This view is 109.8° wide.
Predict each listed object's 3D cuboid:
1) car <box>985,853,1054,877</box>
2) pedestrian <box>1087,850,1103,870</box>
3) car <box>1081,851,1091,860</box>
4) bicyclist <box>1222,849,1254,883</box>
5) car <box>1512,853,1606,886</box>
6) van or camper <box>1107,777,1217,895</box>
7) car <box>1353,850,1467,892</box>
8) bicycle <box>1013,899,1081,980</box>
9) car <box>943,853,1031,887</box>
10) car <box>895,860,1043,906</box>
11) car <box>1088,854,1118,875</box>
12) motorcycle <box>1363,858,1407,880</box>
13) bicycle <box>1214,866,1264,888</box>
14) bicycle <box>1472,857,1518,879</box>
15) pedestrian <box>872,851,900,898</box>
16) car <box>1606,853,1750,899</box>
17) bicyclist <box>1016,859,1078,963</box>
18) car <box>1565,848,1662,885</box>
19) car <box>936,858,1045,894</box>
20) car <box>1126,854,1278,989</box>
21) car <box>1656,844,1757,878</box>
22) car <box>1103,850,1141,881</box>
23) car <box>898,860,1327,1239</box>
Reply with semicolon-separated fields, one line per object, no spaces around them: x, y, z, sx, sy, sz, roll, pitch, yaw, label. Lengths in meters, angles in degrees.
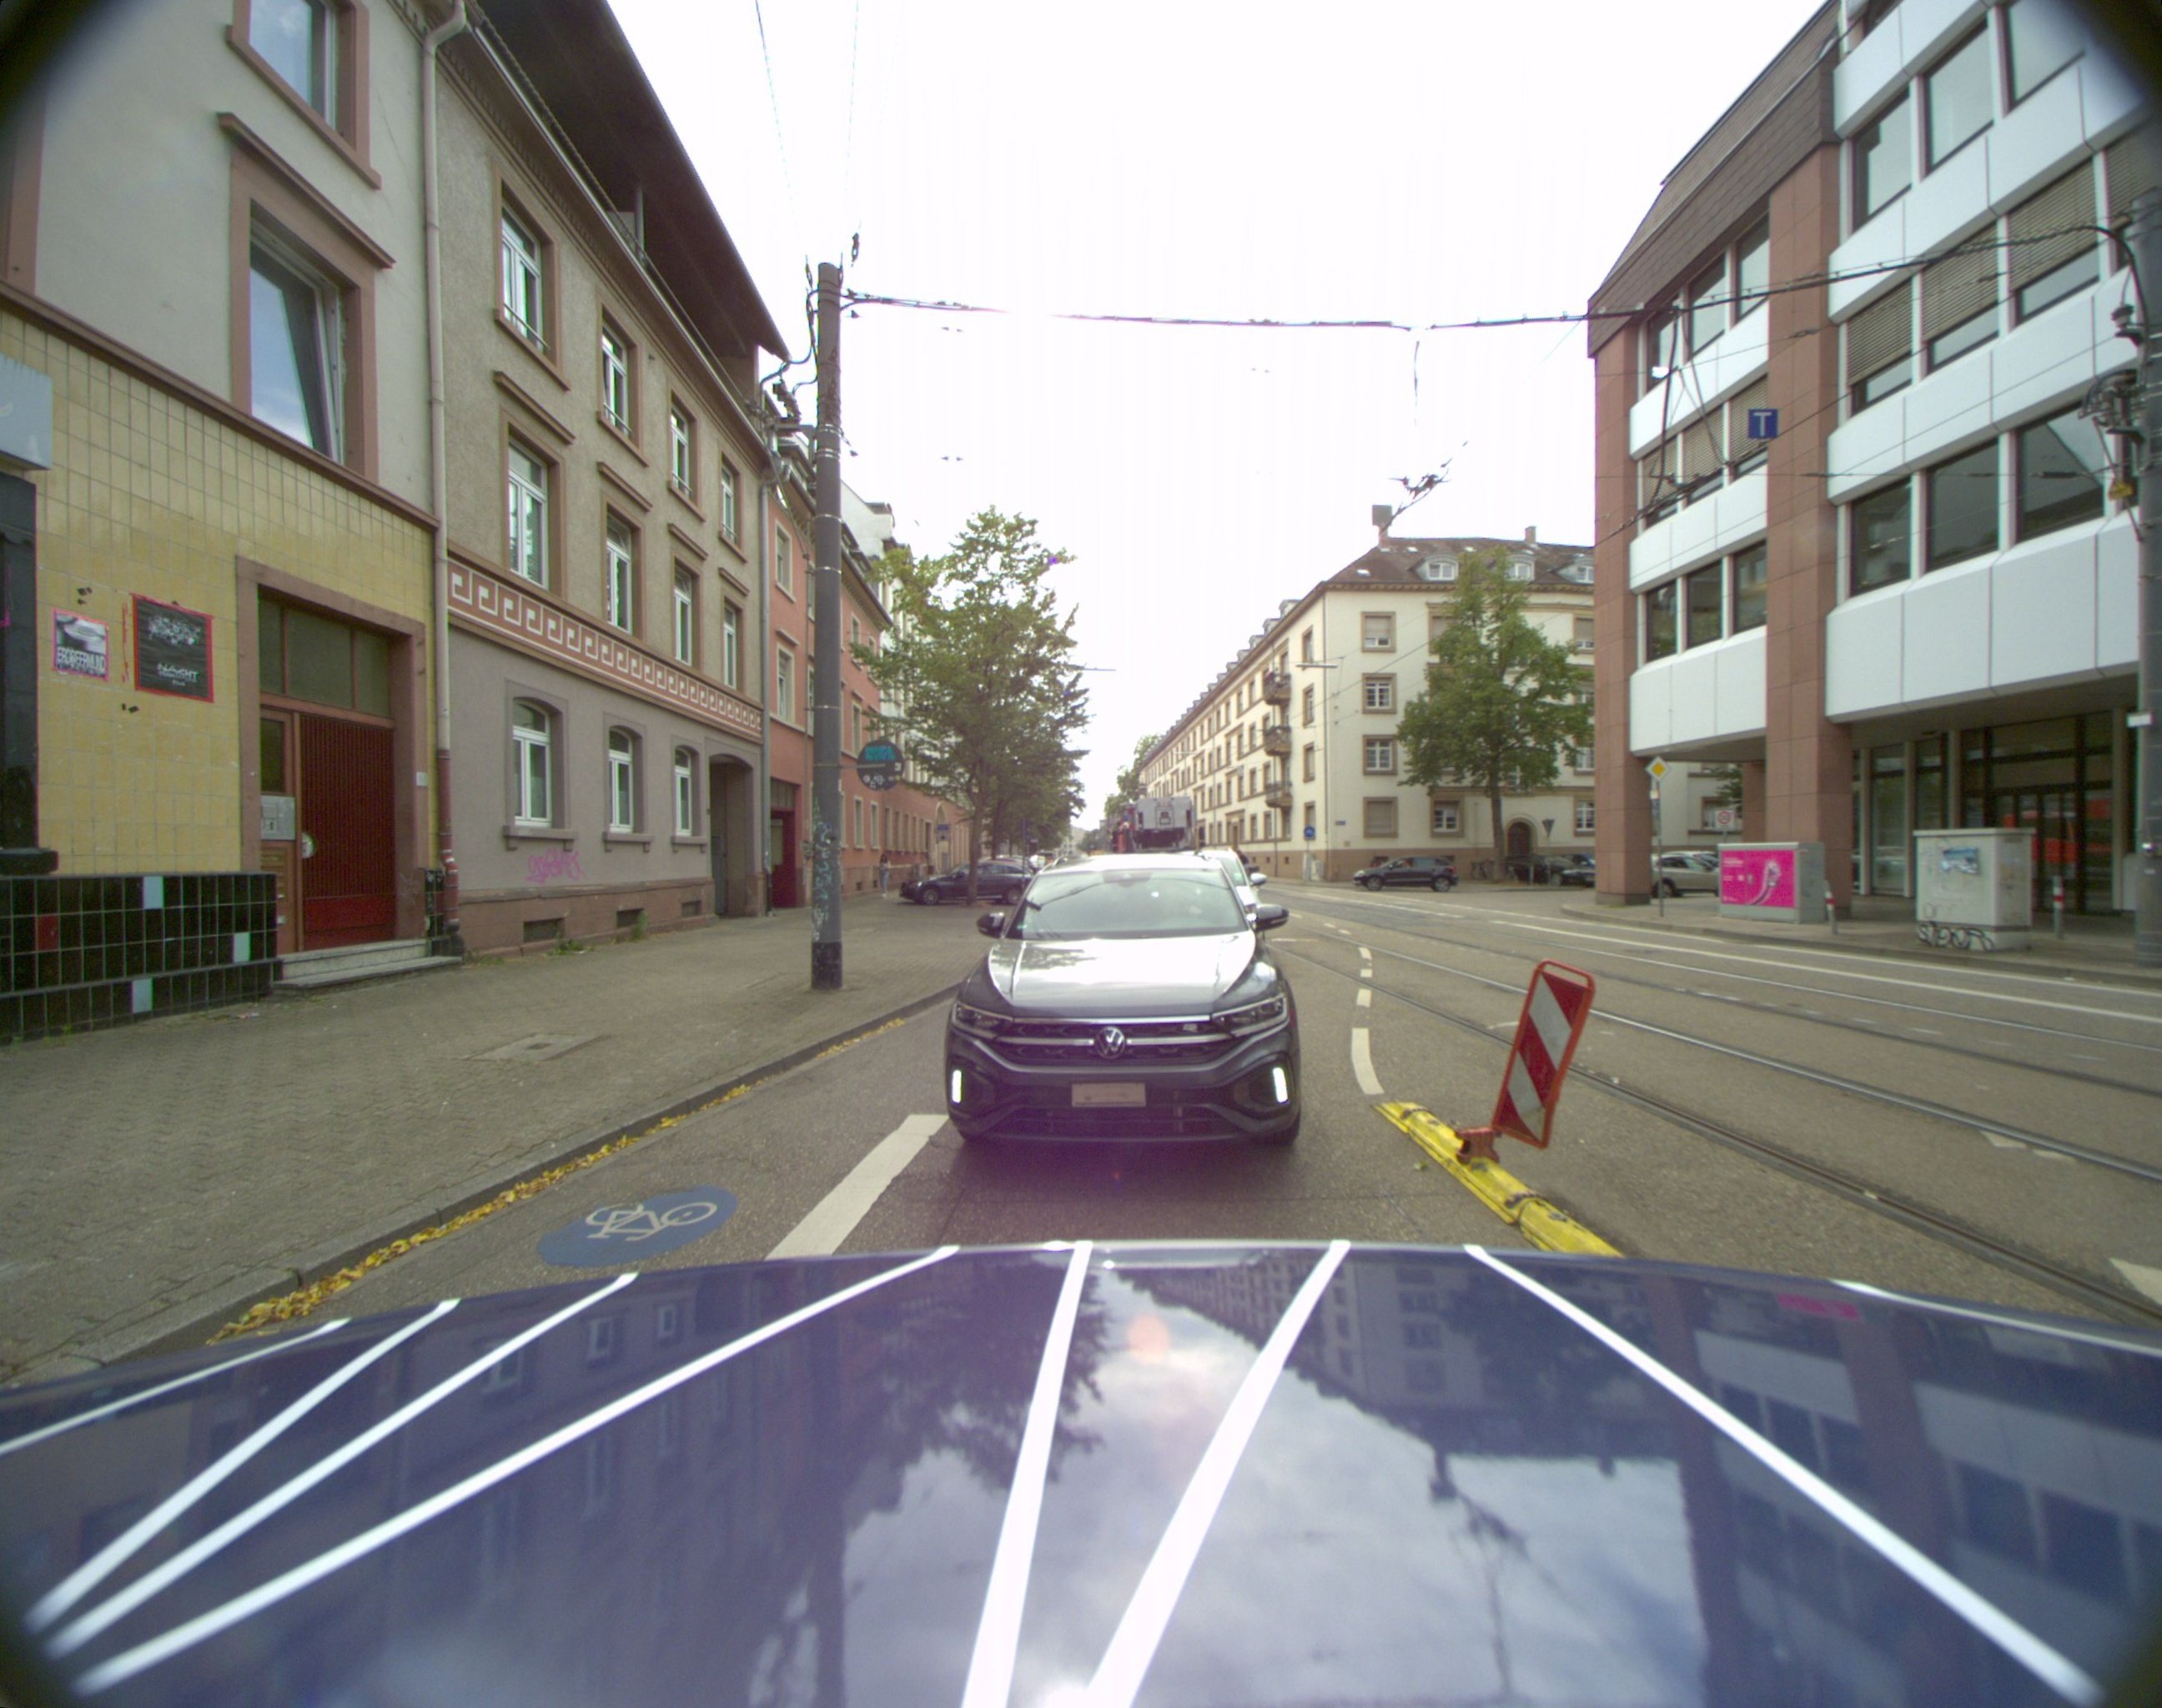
-4.493;0.818;55.490;4.635;1.688;1.913;1;0;-24;car
1.258;0.573;69.711;1.016;1.831;1.003;0;1;40;pedestrian
1.061;0.373;153.663;1.899;1.806;4.000;-1;0;0;car
6.819;0.526;32.970;1.257;1.453;0.678;-1;0;19;bicyclist
21.162;0.656;33.836;1.611;1.388;3.874;-1;0;-3;car
2.520;-0.518;26.810;2.607;3.401;9.651;-1;0;-1;van or camper
13.151;0.665;30.653;4.040;1.528;1.777;-2;0;18;car
-0.477;1.264;11.618;0.714;1.012;1.801;-2;0;7;bicycle
-4.943;0.834;39.919;4.245;1.688;1.736;1;0;-24;car
-3.786;0.956;25.709;4.635;1.464;1.786;1;0;-24;car
1.581;0.751;55.413;1.911;1.478;3.999;-1;0;-2;car
15.296;0.765;38.275;1.924;1.080;0.793;-1;0;-1;motorcycle
6.859;0.994;32.959;2.008;0.959;0.674;-1;-1;20;bicycle
20.952;0.681;38.494;1.924;1.080;0.793;-1;0;-1;bicycle
-7.293;0.759;28.460;0.732;1.678;0.926;3;0;-1;pedestrian
19.184;0.684;24.461;3.650;1.380;1.611;-1;0;-9;car
-0.500;0.838;11.560;0.715;1.498;0.919;-3;0;7;bicyclist
23.562;0.521;33.800;1.611;1.538;3.715;-1;0;-3;car
-3.900;0.929;32.783;4.351;1.471;1.786;1;0;-24;car
1.636;0.827;11.349;1.773;1.582;4.283;-2;0;5;car
28.488;0.298;34.746;1.592;1.453;3.524;-1;0;-3;car
2.342;0.648;44.410;1.998;1.698;4.053;-1;0;1;car
0.287;0.866;5.366;1.773;1.538;4.283;-2;0;5;car
